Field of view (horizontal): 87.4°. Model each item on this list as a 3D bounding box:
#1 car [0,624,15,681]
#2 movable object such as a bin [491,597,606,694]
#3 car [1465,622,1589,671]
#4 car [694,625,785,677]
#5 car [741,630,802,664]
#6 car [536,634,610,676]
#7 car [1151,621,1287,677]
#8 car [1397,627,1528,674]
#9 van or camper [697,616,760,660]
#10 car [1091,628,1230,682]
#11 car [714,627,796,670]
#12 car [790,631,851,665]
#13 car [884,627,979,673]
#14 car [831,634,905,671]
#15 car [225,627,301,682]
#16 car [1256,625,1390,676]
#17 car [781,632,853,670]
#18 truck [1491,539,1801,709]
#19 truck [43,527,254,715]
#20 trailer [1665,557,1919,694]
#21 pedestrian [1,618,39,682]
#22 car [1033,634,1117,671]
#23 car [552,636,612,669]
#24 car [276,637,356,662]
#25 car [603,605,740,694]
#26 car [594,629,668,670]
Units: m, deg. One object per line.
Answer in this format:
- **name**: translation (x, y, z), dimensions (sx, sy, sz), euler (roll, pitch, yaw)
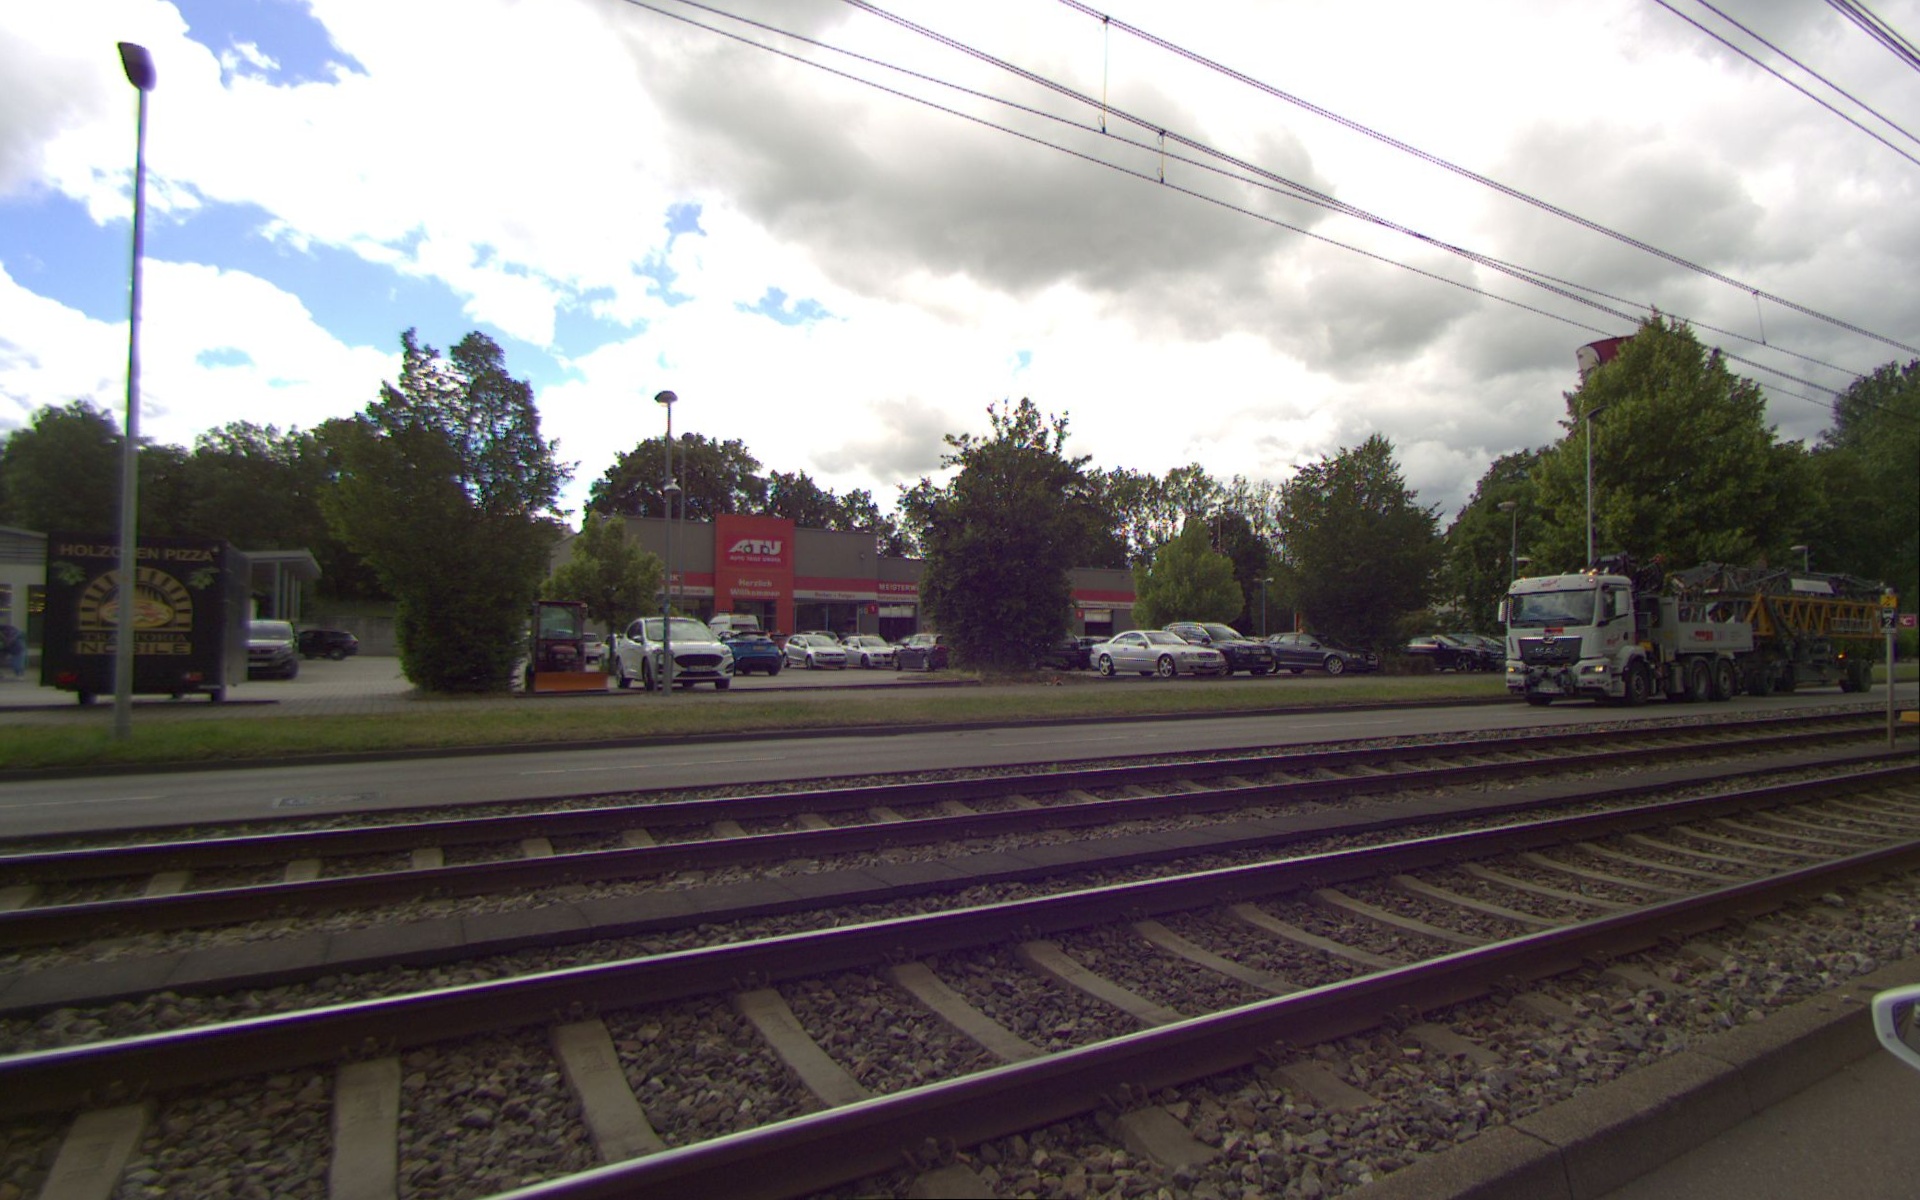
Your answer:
- **car**: translation (-29.007, 1.502, 28.409), dimensions (2.438, 1.661, 3.903), euler (1, -3, -30)
- **movable object such as a bin**: translation (-9.257, 1.005, 22.430), dimensions (1.661, 1.962, 3.964), euler (1, -3, -33)
- **car**: translation (22.806, 1.832, 40.519), dimensions (1.859, 1.821, 3.962), euler (1, -1, -34)
- **car**: translation (-7.786, 1.748, 35.193), dimensions (1.917, 1.706, 4.265), euler (1, -3, -30)
- **car**: translation (-10.178, 2.543, 54.143), dimensions (1.803, 1.762, 3.962), euler (1, -3, -34)
- **car**: translation (-14.456, 2.018, 37.419), dimensions (1.664, 1.491, 3.716), euler (2, -3, -36)
- **car**: translation (8.121, 1.533, 31.773), dimensions (1.859, 1.656, 3.963), euler (1, -2, -34)
- **car**: translation (18.628, 1.856, 37.402), dimensions (1.859, 1.620, 3.963), euler (1, -2, -34)
- **van or camper**: translation (-12.028, 1.988, 52.038), dimensions (1.803, 2.173, 4.235), euler (1, -3, -34)
- **car**: translation (5.936, 1.601, 30.215), dimensions (1.662, 1.491, 4.284), euler (1, -2, -32)
- **car**: translation (-8.558, 2.005, 41.784), dimensions (1.716, 1.699, 4.193), euler (2, -3, -37)
- **car**: translation (-7.691, 2.617, 55.183), dimensions (1.803, 1.762, 3.962), euler (1, -3, -34)
- **car**: translation (-1.162, 1.930, 39.187), dimensions (1.917, 1.706, 4.265), euler (1, -3, -30)
- **car**: translation (-4.003, 2.223, 43.291), dimensions (1.663, 1.527, 3.934), euler (1, -3, -30)
- **car**: translation (-22.429, 1.722, 32.447), dimensions (1.668, 1.661, 3.903), euler (1, -3, -30)
- **car**: translation (12.234, 1.681, 34.088), dimensions (1.859, 1.620, 3.963), euler (1, -2, -34)
- **car**: translation (-6.097, 2.152, 42.520), dimensions (1.663, 1.527, 3.934), euler (1, -3, -30)
- **truck**: translation (18.187, 0.689, 26.199), dimensions (10.994, 3.712, 2.691), euler (2, -2, -33)
- **truck**: translation (-14.000, 0.400, 17.633), dimensions (2.350, 2.859, 3.966), euler (1, -2, -32)
- **trailer**: translation (26.940, 0.877, 32.024), dimensions (13.158, 3.708, 2.689), euler (2, -2, -34)
- **pedestrian**: translation (-27.871, 1.477, 29.787), dimensions (0.656, 1.879, 0.542), euler (1, -2, -30)
- **car**: translation (5.019, 2.280, 44.308), dimensions (1.663, 1.527, 3.934), euler (1, -3, -30)
- **car**: translation (-18.258, 2.506, 48.438), dimensions (1.752, 1.491, 3.716), euler (2, -3, -36)
- **car**: translation (-34.907, 2.677, 54.544), dimensions (3.547, 1.352, 1.464), euler (1, -2, -30)
- **car**: translation (-6.609, 1.087, 22.756), dimensions (1.859, 1.821, 3.963), euler (1, -2, -34)
- **car**: translation (-12.764, 1.900, 38.859), dimensions (1.664, 1.491, 3.716), euler (2, -3, -36)
